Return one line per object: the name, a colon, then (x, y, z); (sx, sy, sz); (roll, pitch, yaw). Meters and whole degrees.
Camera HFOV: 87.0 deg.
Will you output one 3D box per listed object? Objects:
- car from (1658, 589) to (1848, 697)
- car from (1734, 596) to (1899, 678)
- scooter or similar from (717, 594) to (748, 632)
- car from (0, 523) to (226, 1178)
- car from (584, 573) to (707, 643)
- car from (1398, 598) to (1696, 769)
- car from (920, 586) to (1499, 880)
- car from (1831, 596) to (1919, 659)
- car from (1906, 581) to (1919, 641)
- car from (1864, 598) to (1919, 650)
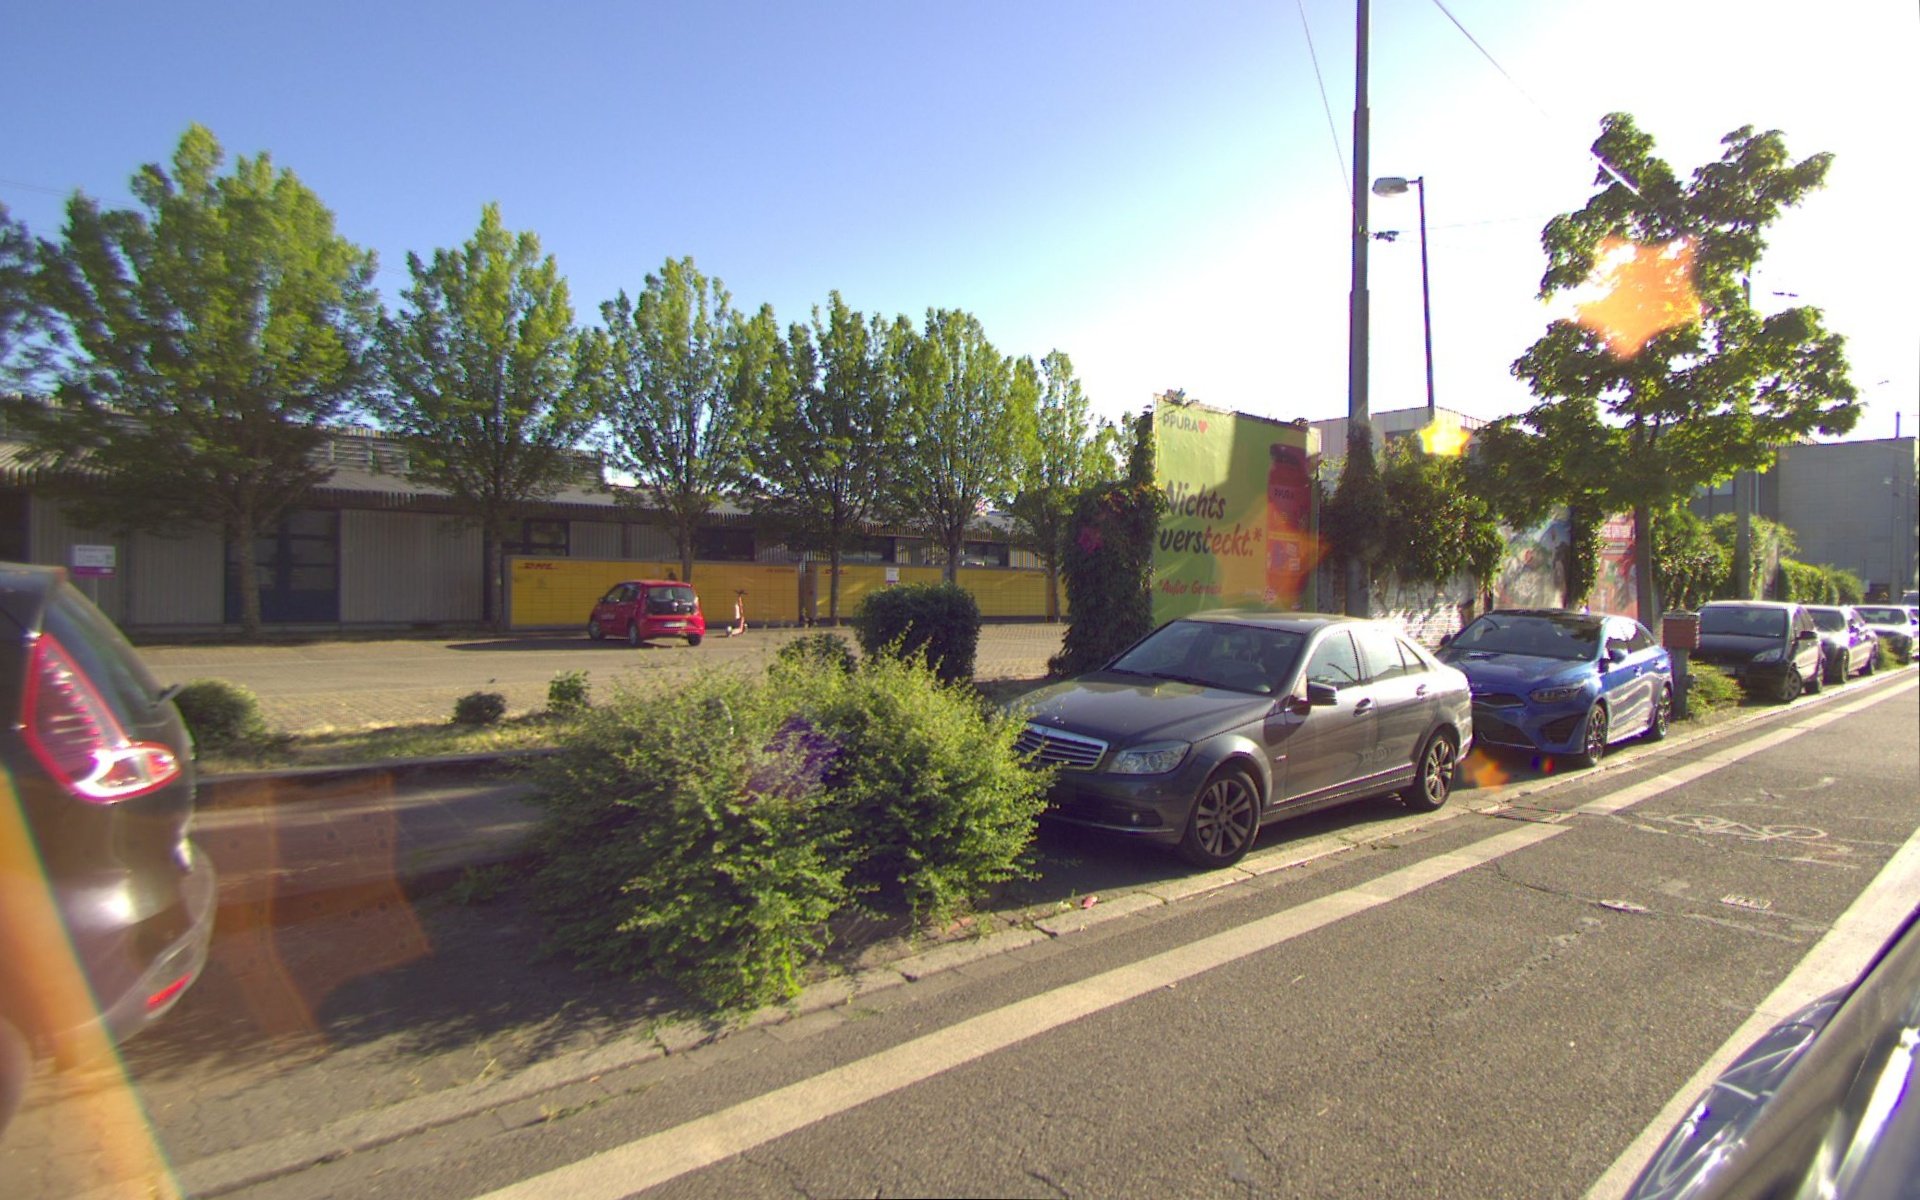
car: (13.198, 0.617, 16.778); (3.749, 1.511, 1.827); (0, 3, -42)
car: (17.678, 0.674, 20.815); (4.559, 1.470, 1.828); (0, 1, -40)
scooter or similar: (-6.051, 0.338, 26.949); (0.321, 0.986, 1.178); (0, 0, 15)
car: (-4.191, 0.588, 2.053); (4.266, 1.624, 1.732); (0, 3, -41)
car: (-7.400, 0.130, 23.668); (1.708, 1.515, 3.321); (0, 1, -38)
car: (6.496, 0.728, 10.979); (4.270, 1.482, 1.729); (0, 0, -44)
car: (1.987, 0.662, 7.210); (4.418, 1.482, 1.731); (0, 0, -40)
car: (24.224, 0.653, 26.183); (4.519, 1.503, 1.828); (0, 0, -40)
car: (34.454, 0.377, 34.963); (5.147, 2.016, 1.859); (0, 1, -39)
car: (29.083, 0.693, 30.648); (4.001, 1.491, 1.877); (0, 0, -38)
